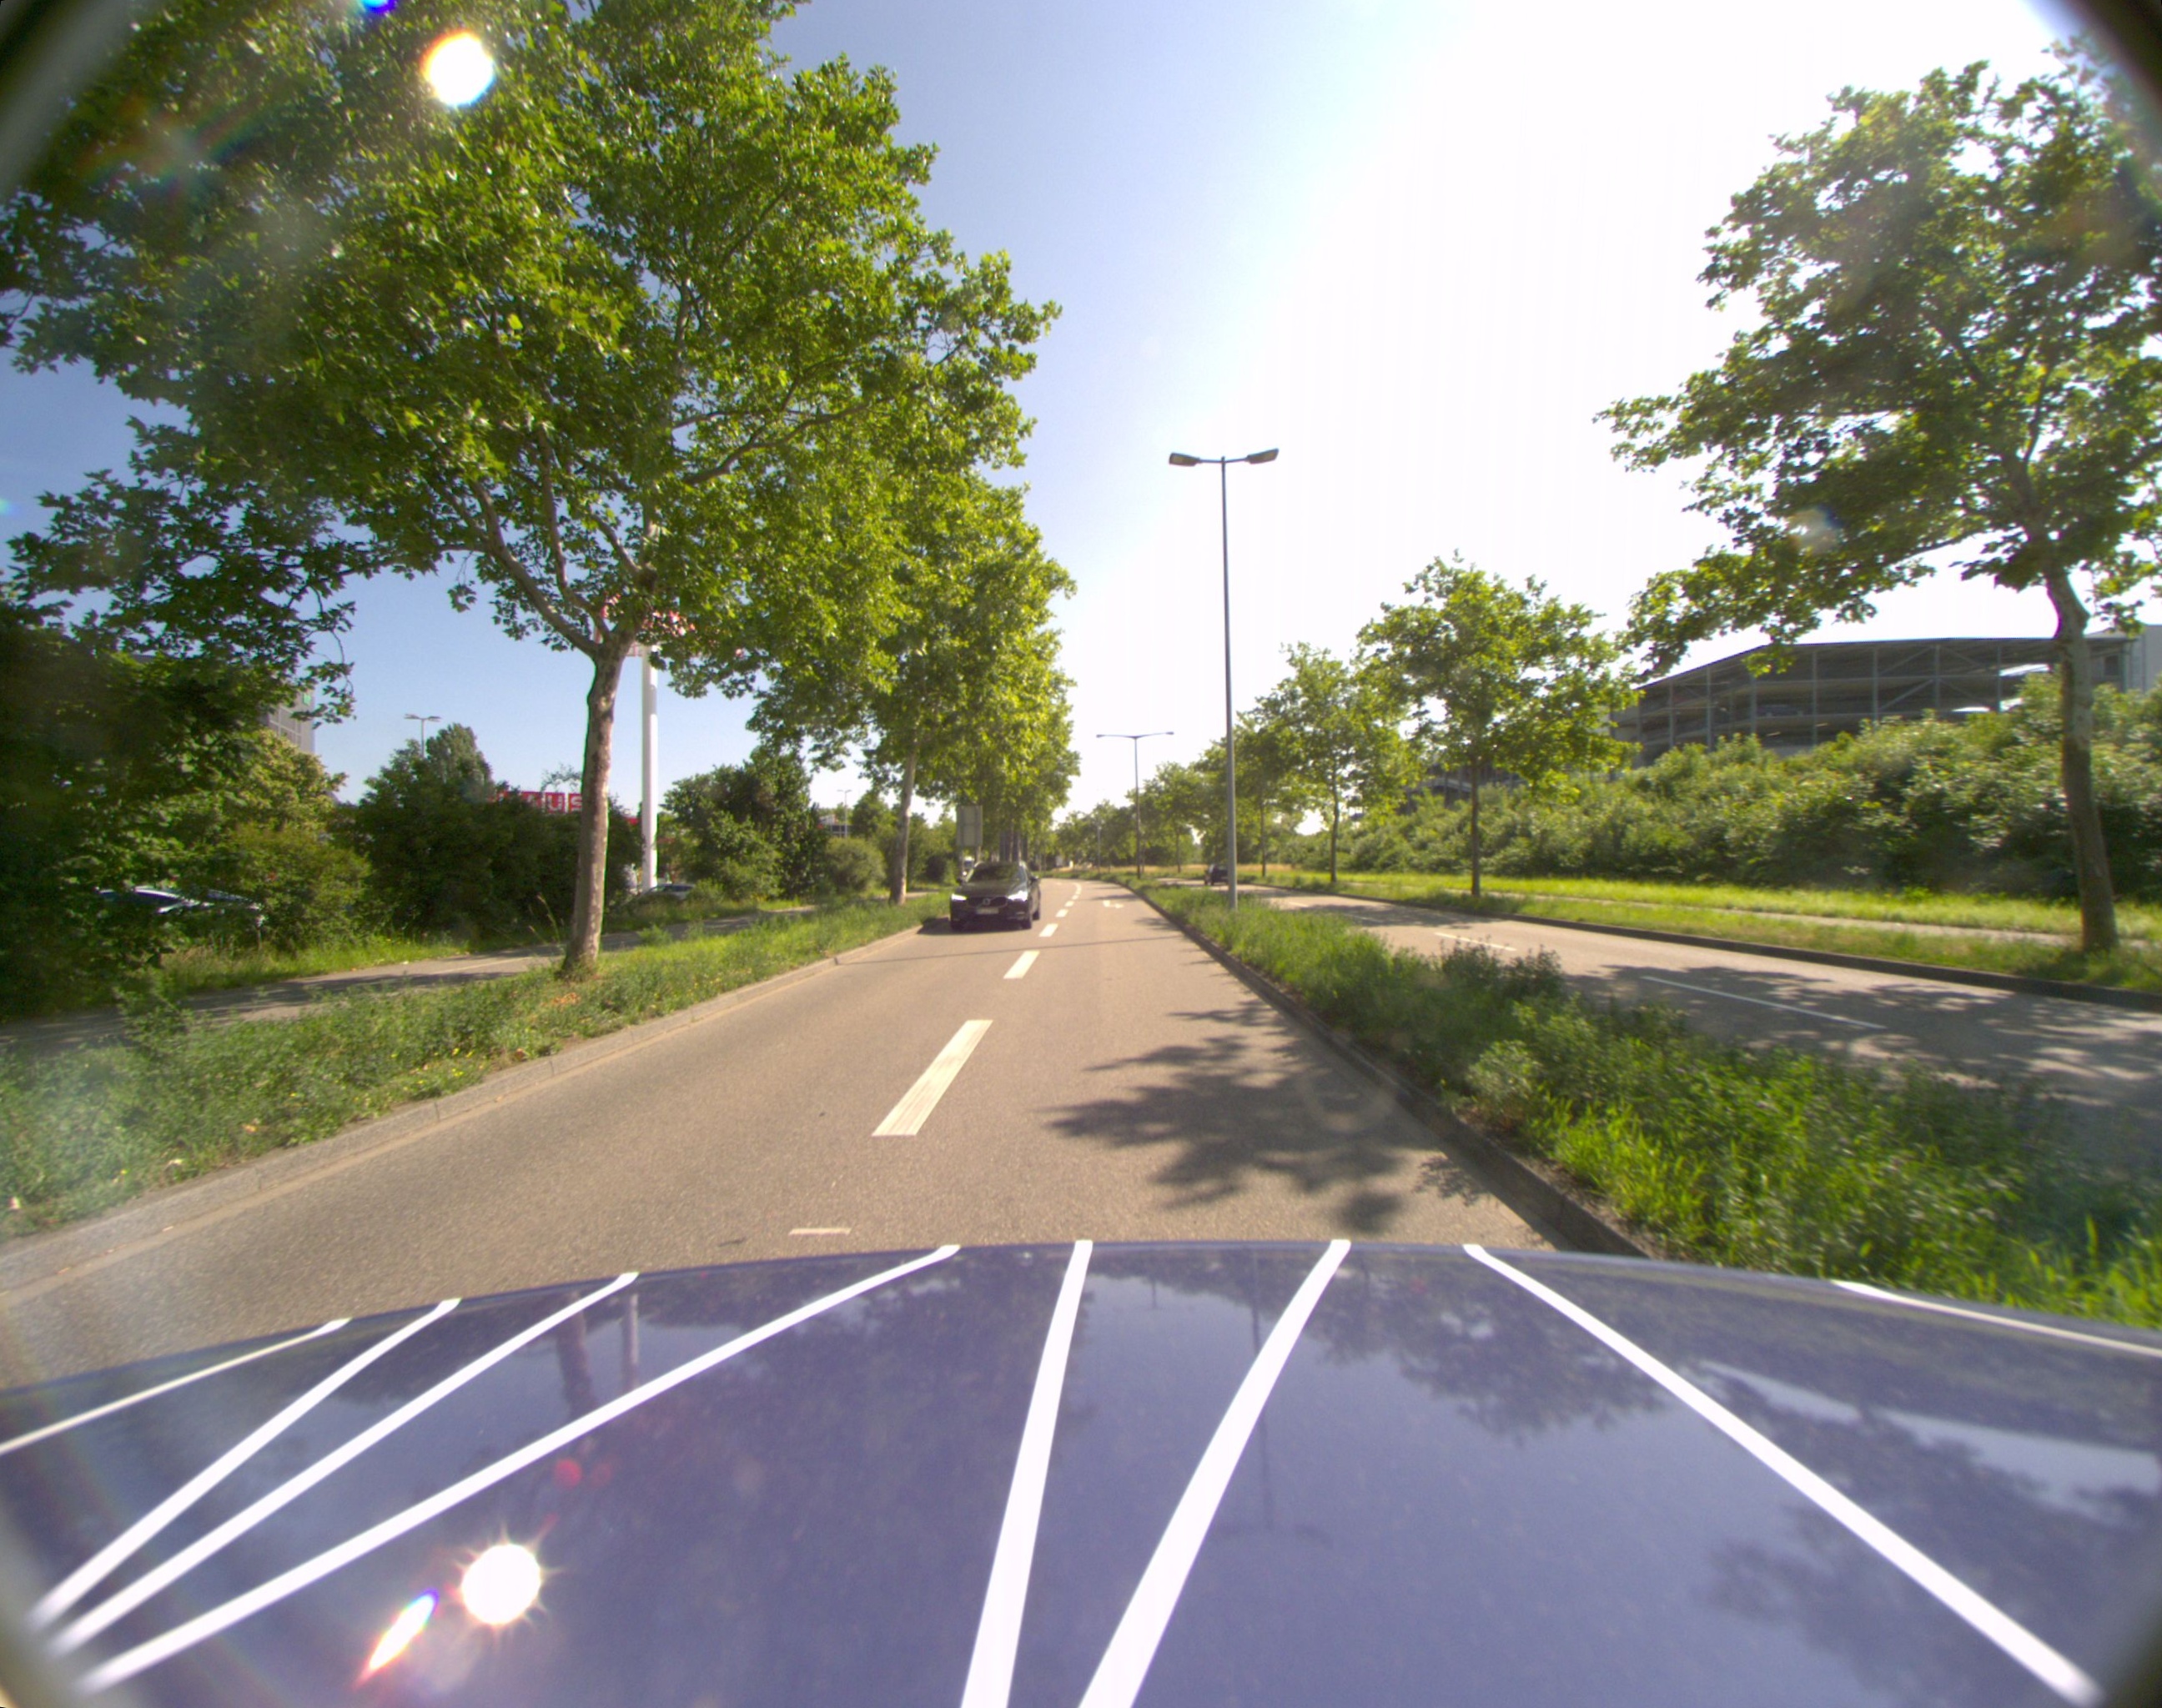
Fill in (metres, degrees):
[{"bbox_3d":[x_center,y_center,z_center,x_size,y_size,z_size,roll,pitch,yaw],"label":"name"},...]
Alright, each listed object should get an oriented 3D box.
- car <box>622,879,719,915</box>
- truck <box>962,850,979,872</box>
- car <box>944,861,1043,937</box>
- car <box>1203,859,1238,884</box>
[{"bbox_3d":[-21.263,2.219,39.468,3.998,1.662,1.697,-2,0,-4],"label":"car"},{"bbox_3d":[-20.890,1.347,143.372,2.744,3.872,5.846,-2,0,-11],"label":"truck"},{"bbox_3d":[-2.094,1.043,19.428,1.924,1.613,4.564,-2,0,0],"label":"car"},{"bbox_3d":[9.244,1.137,50.485,1.574,1.461,3.927,-2,0,1],"label":"car"}]
